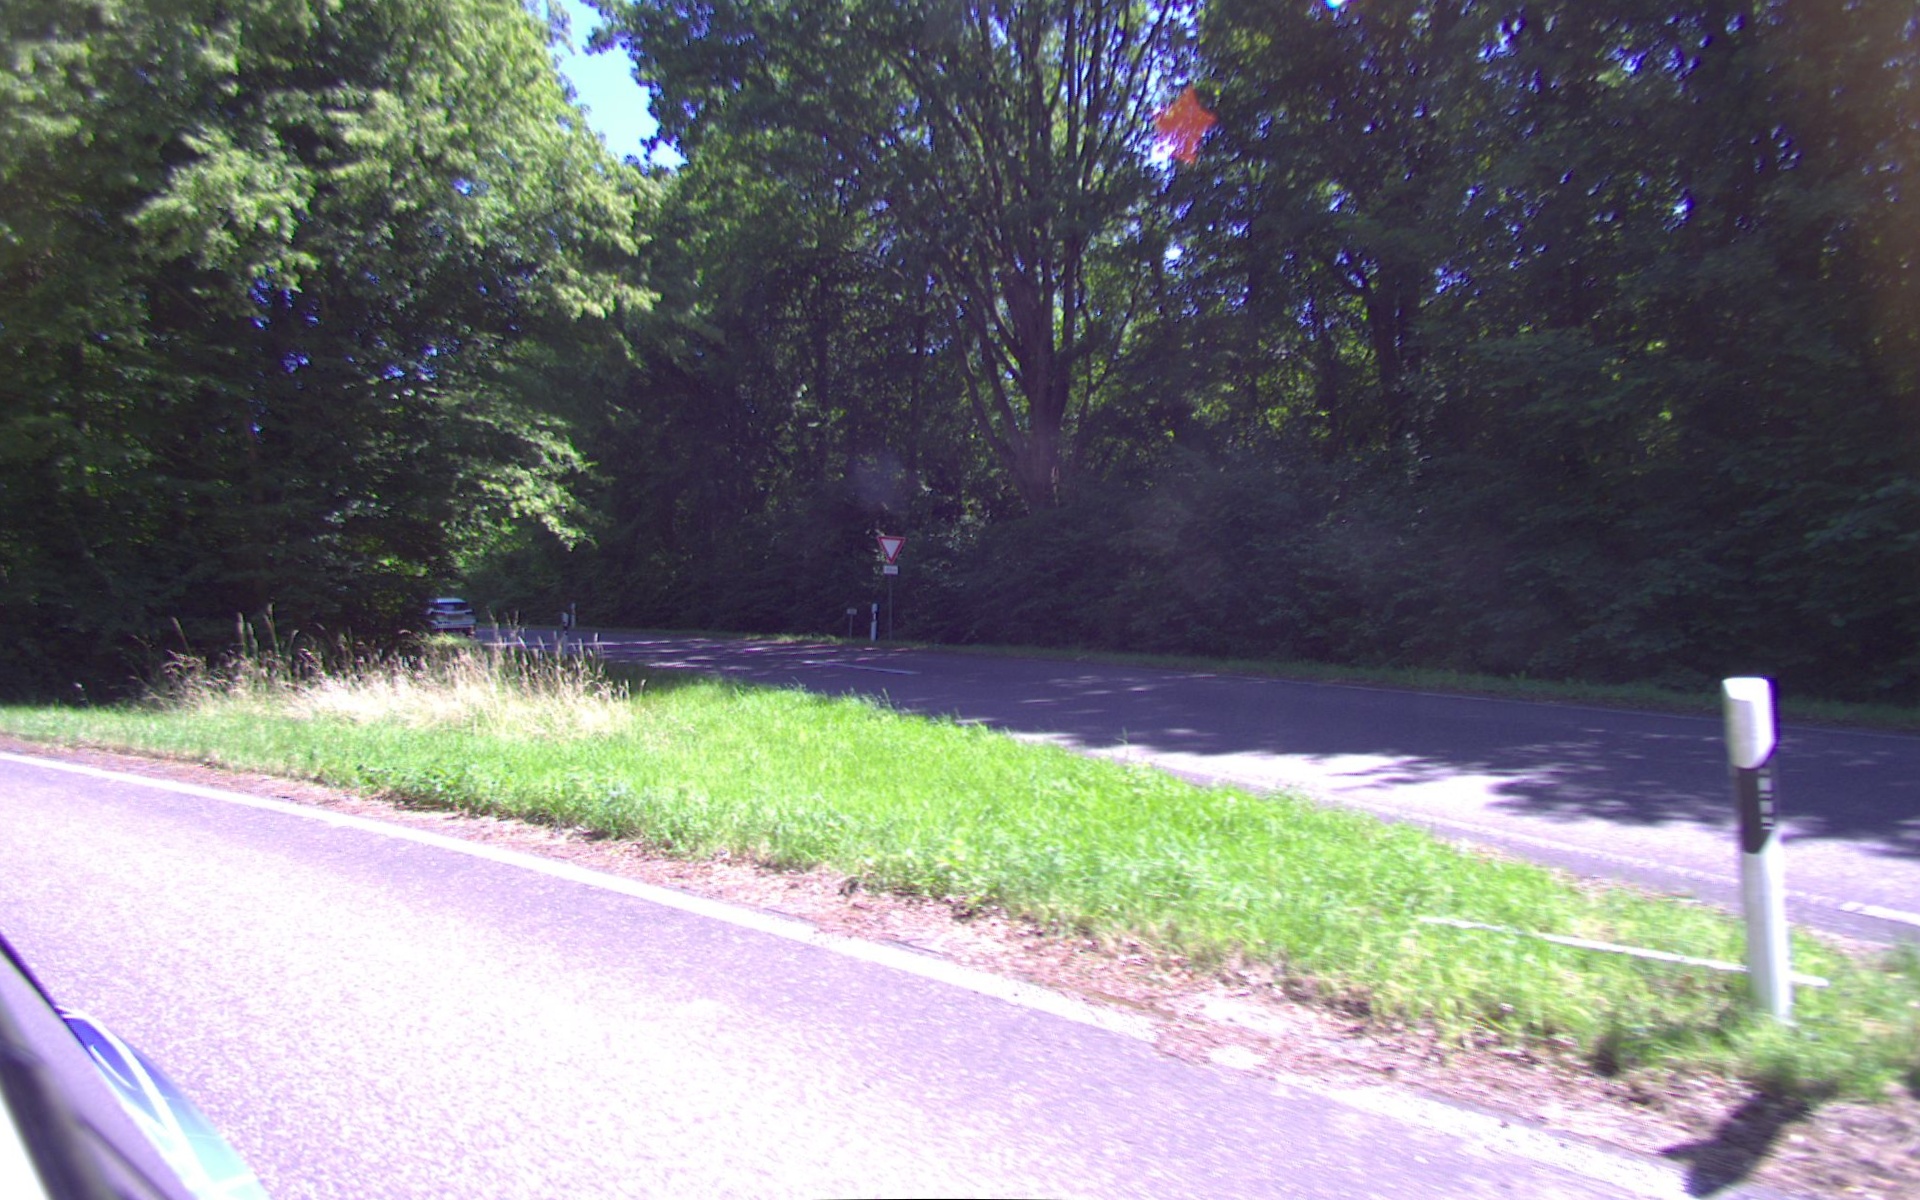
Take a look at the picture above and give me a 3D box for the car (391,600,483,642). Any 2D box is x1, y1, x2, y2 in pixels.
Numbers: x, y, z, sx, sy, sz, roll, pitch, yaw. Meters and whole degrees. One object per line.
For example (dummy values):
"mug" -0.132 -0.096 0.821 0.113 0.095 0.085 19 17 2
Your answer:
"car" -20.352 0.833 39.260 1.735 1.463 4.872 -3 1 -45
